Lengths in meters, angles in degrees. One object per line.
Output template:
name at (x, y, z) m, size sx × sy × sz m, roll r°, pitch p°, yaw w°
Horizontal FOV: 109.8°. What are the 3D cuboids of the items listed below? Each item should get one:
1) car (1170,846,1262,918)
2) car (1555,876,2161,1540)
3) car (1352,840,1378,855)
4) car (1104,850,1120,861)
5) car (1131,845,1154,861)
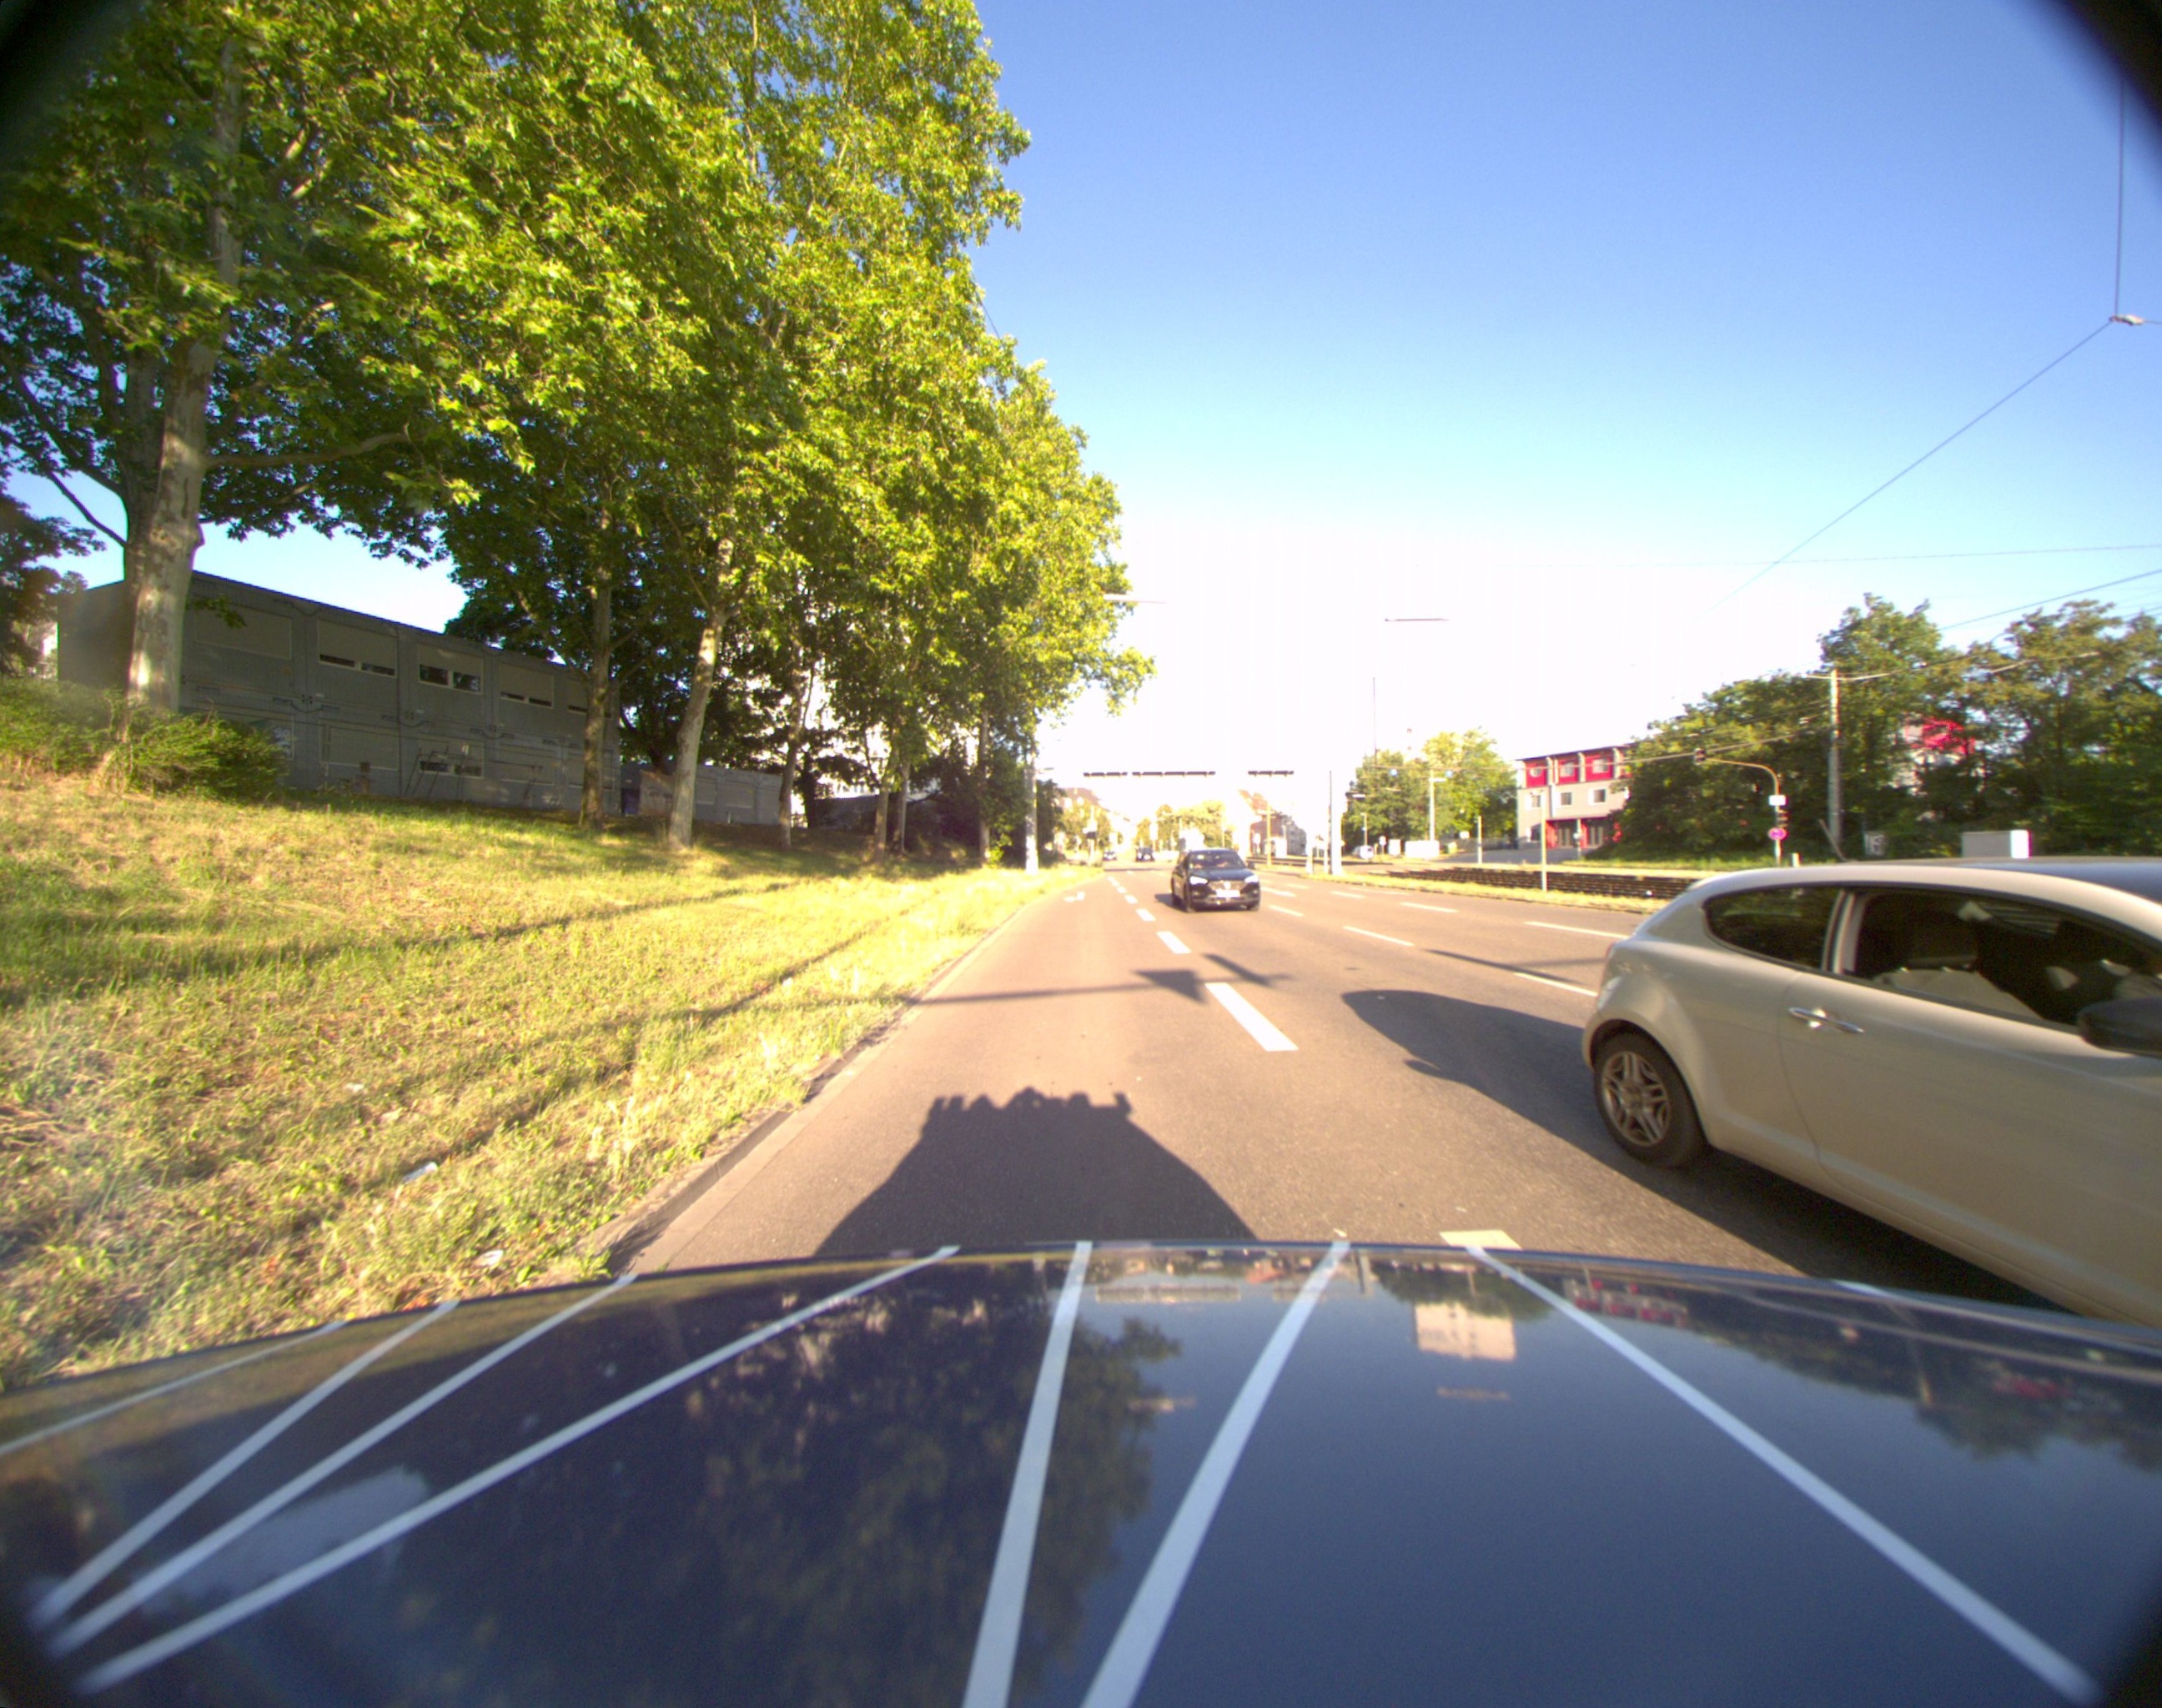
car at (3.527, 0.657, 20.655) m, size 1.818 × 1.670 × 4.623 m, roll -1°, pitch 1°, yaw 2°
car at (3.421, 0.869, 2.067) m, size 1.741 × 1.496 × 4.000 m, roll -1°, pitch 0°, yaw -1°
car at (36.573, -0.802, 97.951) m, size 1.938 × 1.777 × 4.260 m, roll -1°, pitch 0°, yaw 3°
car at (3.919, 0.178, 96.150) m, size 1.741 × 1.429 × 3.999 m, roll -1°, pitch 0°, yaw -1°
car at (6.578, -0.141, 81.558) m, size 1.905 × 1.652 × 4.276 m, roll -1°, pitch 0°, yaw -1°
